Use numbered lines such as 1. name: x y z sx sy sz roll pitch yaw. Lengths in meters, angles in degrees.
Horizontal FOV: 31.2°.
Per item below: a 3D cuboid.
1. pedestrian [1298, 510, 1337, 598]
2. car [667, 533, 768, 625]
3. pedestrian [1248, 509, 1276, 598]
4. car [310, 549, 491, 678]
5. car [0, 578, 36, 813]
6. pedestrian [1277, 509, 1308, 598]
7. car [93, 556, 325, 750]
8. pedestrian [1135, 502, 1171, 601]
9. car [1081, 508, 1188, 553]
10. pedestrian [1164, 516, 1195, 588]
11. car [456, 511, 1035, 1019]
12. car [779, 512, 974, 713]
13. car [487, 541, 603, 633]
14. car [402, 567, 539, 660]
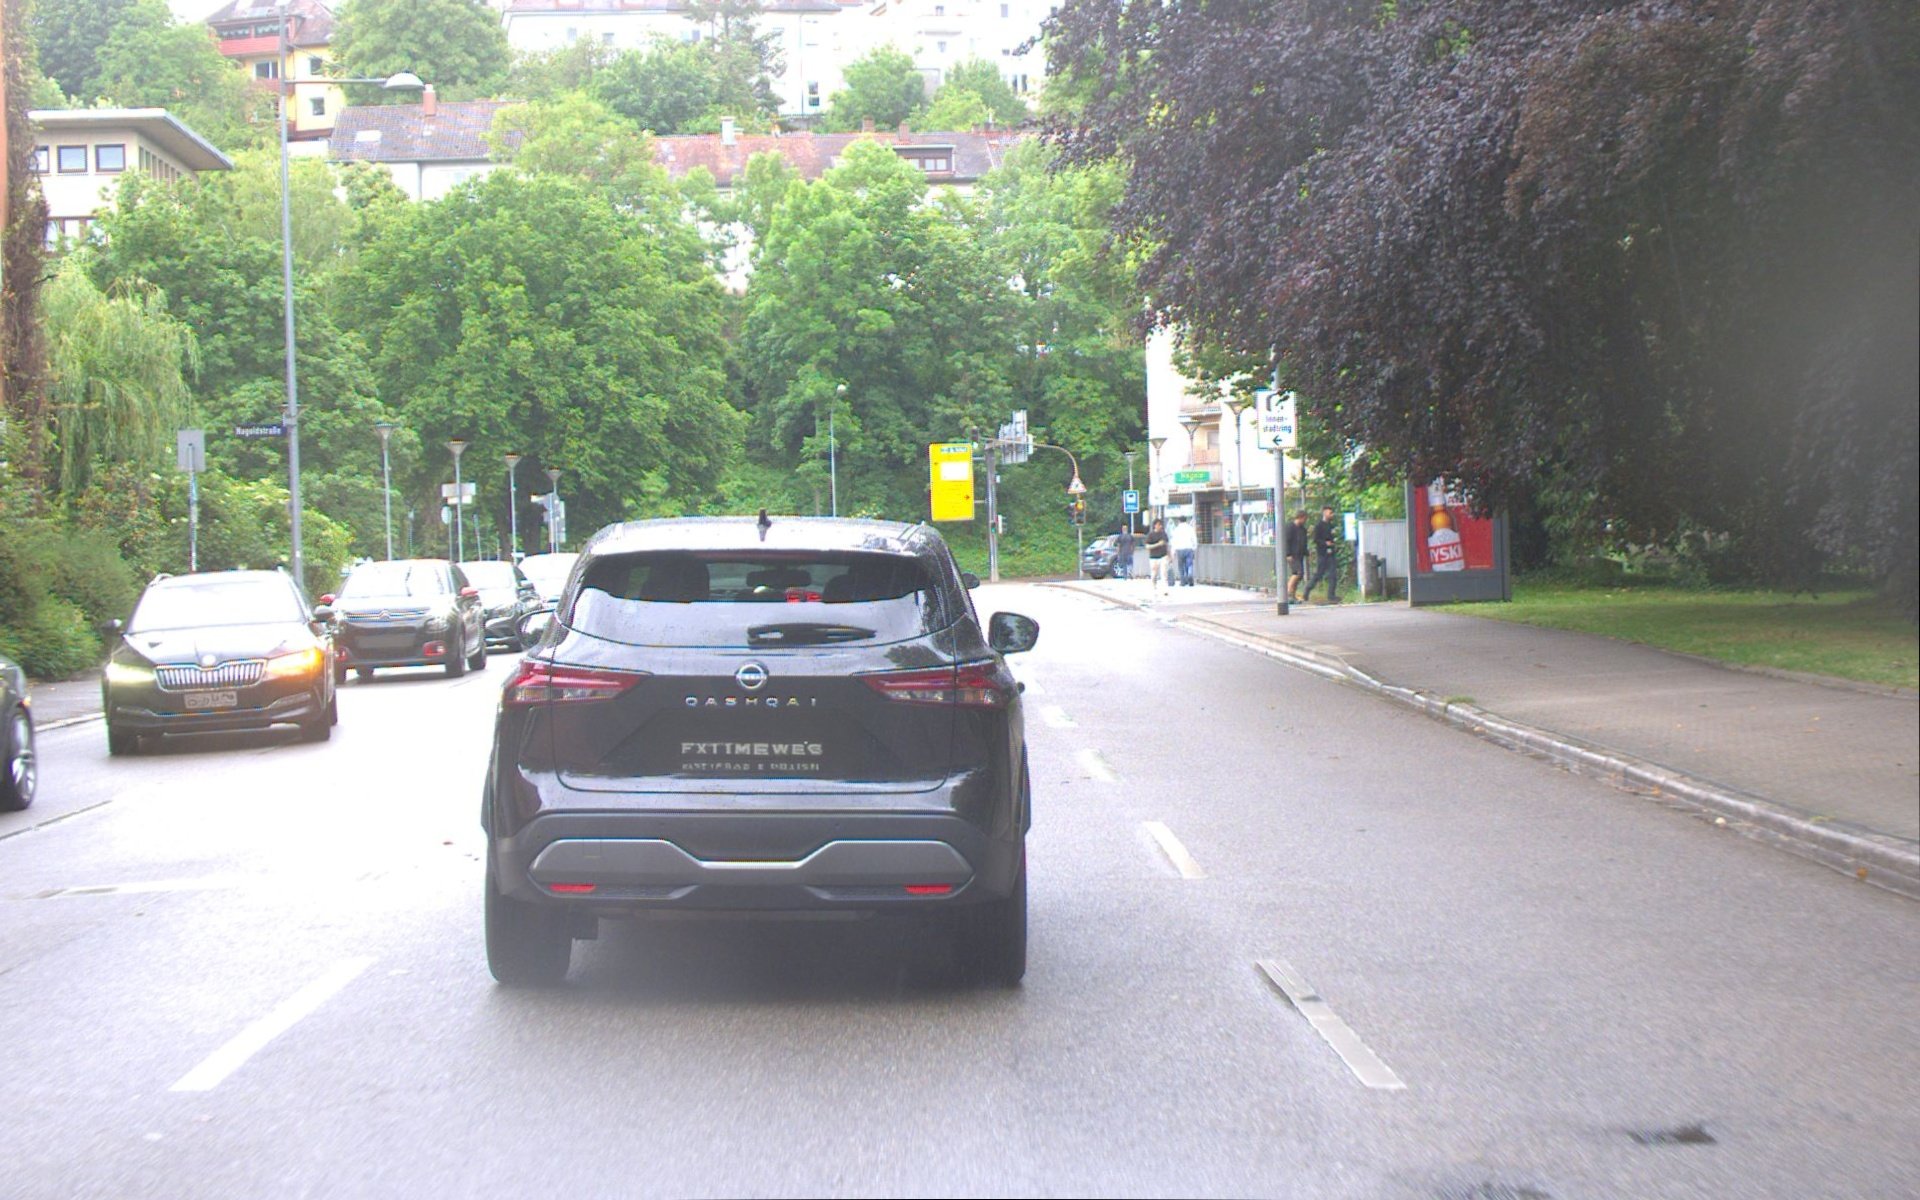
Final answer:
1. pedestrian: 6.737 -0.863 64.759 0.699 1.645 0.628 0 0 9
2. car: -4.907 -0.441 70.009 1.763 1.752 3.635 -2 1 -1
3. pedestrian: 5.639 -0.869 64.255 0.475 1.645 0.490 0 0 9
4. car: -7.049 0.130 43.656 1.676 1.464 4.217 -3 1 -2
5. car: -6.906 0.676 20.398 1.775 1.464 4.217 -3 1 -2
6. pedestrian: 6.214 -0.864 64.218 0.544 1.645 0.490 0 0 9
7. car: -6.444 0.408 29.833 1.747 1.464 4.218 -3 1 -10
8. pedestrian: 4.235 -1.061 75.446 0.768 2.176 0.711 0 0 2
9. car: 7.162 -2.866 141.396 3.986 1.678 2.001 -3 1 -11
10. pedestrian: 5.475 -1.203 85.731 0.618 1.773 0.778 -3 1 -1
11. car: -0.712 0.510 12.798 1.806 1.584 4.000 0 0 -1
12. car: -0.726 0.082 32.216 1.622 1.703 3.771 -3 1 1
13. car: -7.878 -0.266 65.487 1.750 1.628 3.635 -2 1 -1
14. car: -7.639 0.183 53.874 1.676 1.291 3.752 -3 1 -2
